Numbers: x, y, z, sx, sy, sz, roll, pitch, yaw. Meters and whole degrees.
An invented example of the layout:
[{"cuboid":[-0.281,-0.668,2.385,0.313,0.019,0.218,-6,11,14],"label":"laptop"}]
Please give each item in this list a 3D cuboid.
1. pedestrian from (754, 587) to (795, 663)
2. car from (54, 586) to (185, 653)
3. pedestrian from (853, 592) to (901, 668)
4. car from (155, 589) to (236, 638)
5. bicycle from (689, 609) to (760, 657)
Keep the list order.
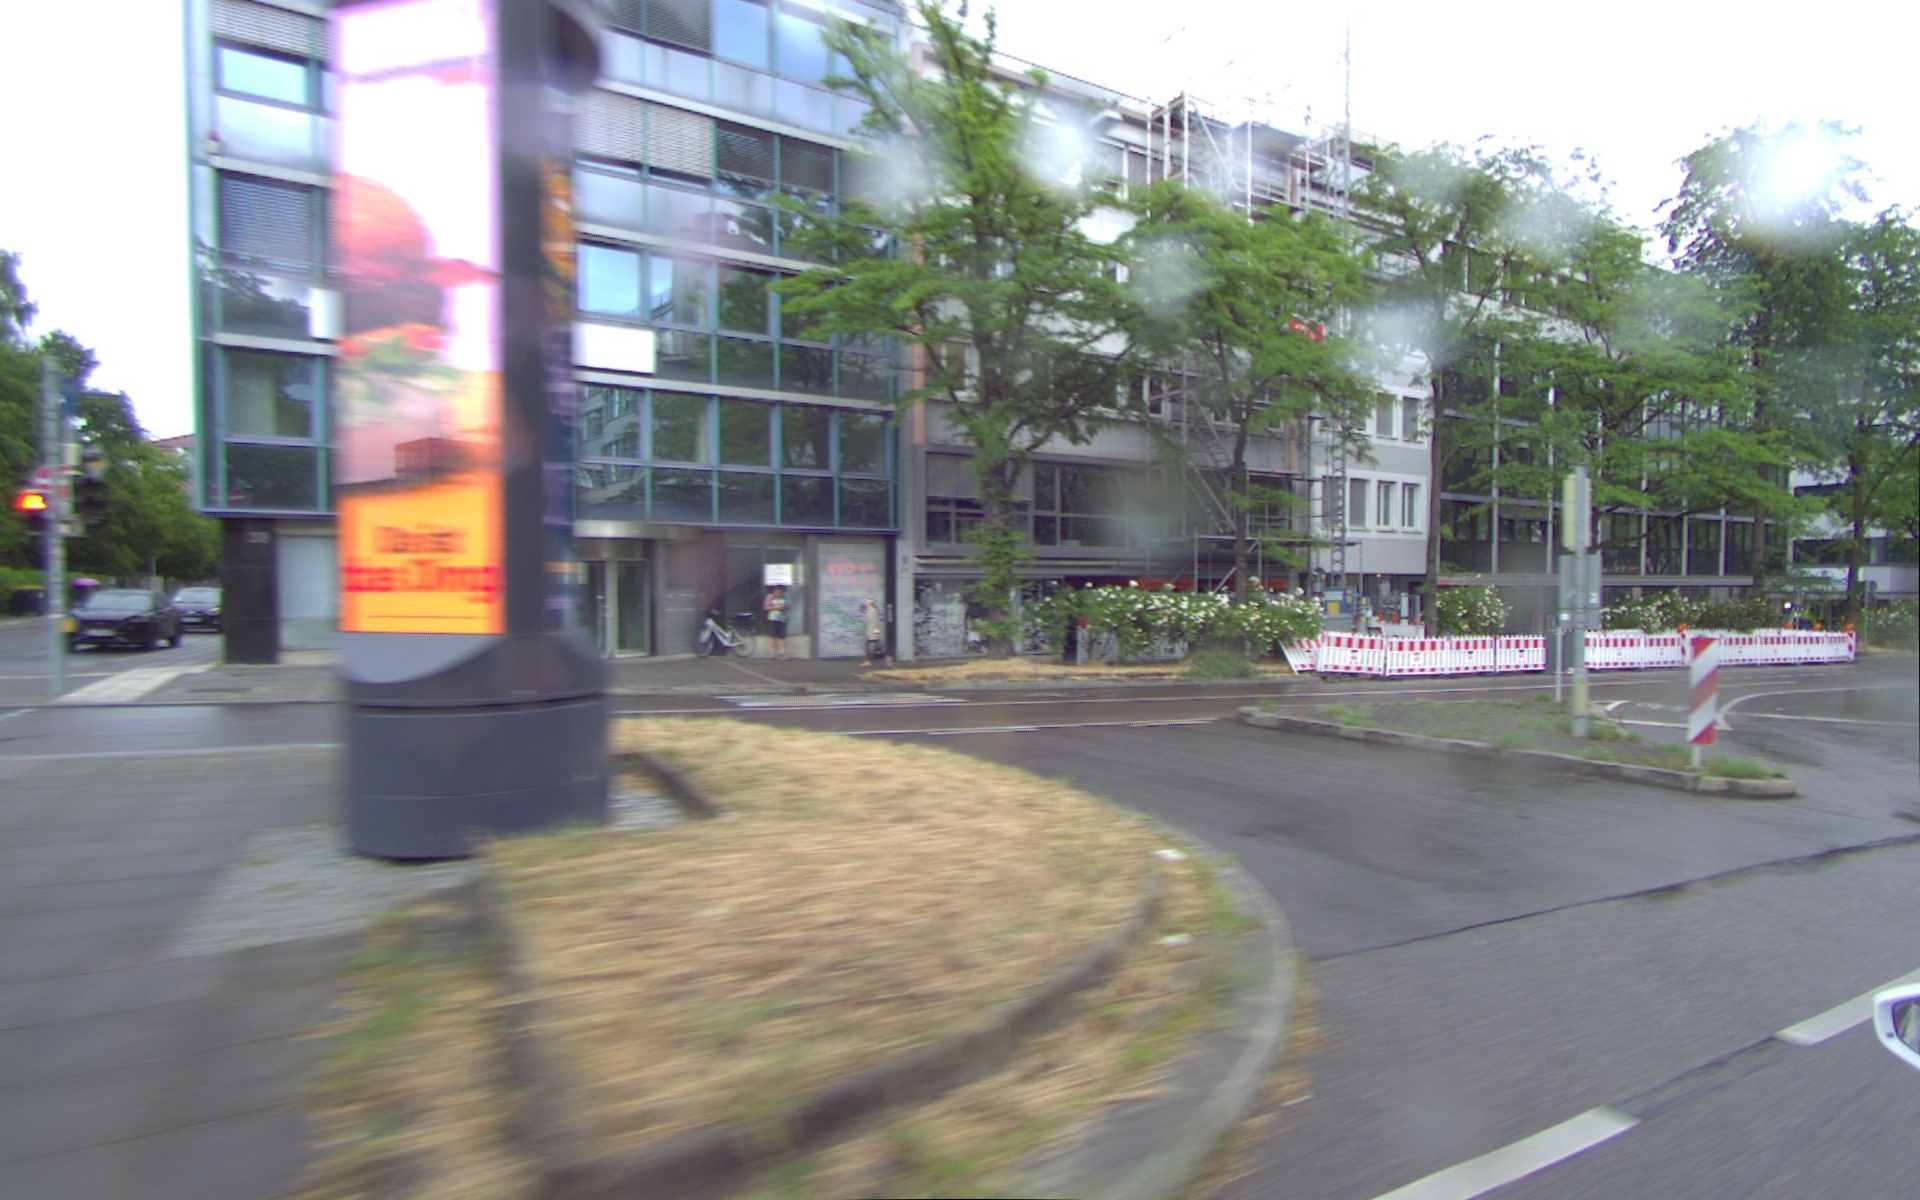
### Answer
[{"cuboid":[-4.441,0.590,24.095,0.688,1.765,0.691,2,1,-36],"label":"pedestrian"},{"cuboid":[-21.633,0.488,26.018,1.977,1.578,3.966,1,-1,-31],"label":"car"},{"cuboid":[-1.985,0.710,23.999,0.867,1.765,0.689,2,1,-33],"label":"pedestrian"},{"cuboid":[-26.506,0.450,34.953,1.777,1.578,3.966,1,-1,-31],"label":"car"},{"cuboid":[-5.521,0.782,23.583,1.544,1.100,0.444,1,0,-27],"label":"bicycle"}]
